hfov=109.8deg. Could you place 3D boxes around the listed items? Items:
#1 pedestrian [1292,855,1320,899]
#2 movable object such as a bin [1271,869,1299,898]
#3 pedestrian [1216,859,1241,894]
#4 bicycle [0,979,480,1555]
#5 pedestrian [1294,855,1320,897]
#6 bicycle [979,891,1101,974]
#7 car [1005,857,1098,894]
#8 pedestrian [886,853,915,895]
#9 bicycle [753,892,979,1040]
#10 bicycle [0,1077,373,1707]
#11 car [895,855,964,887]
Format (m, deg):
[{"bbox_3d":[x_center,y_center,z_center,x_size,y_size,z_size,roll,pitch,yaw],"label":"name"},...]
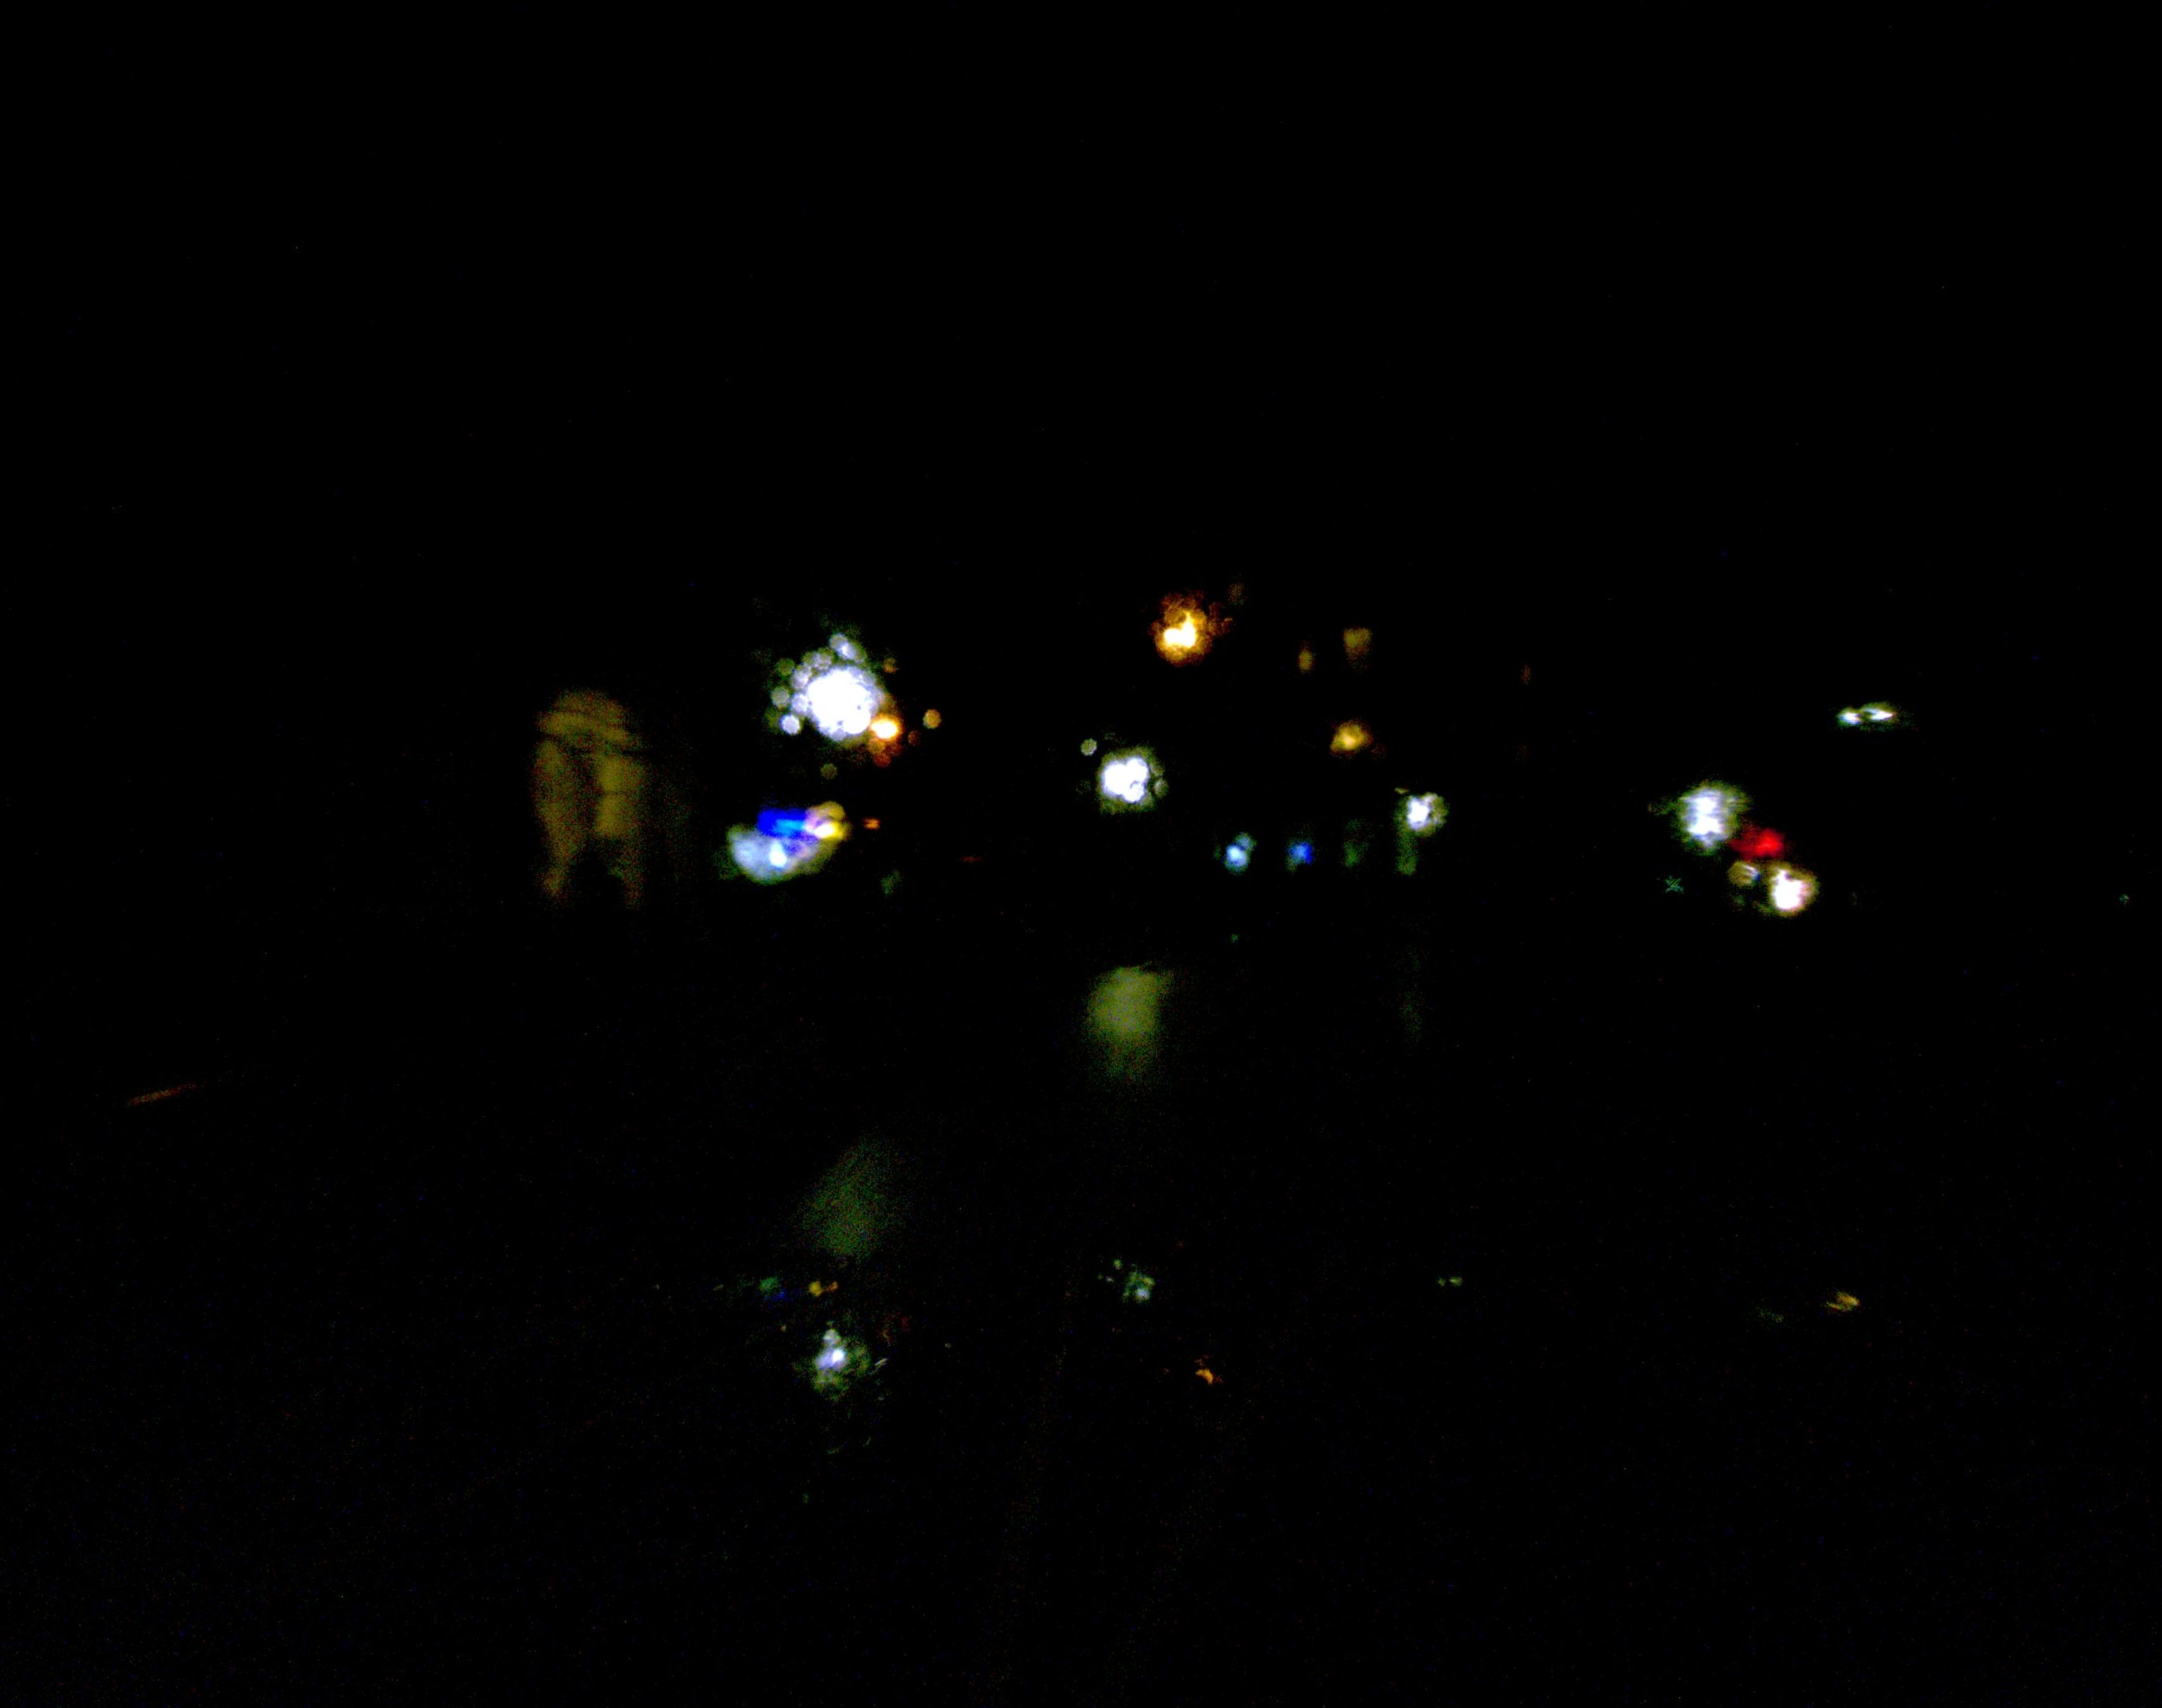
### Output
[{"bbox_3d":[8.691,0.879,29.340,0.872,1.628,0.635,-2,0,25],"label":"pedestrian"},{"bbox_3d":[8.151,1.161,30.360,0.921,1.109,0.635,-2,0,25],"label":"movable object such as a bin"},{"bbox_3d":[6.393,0.968,32.979,0.635,1.484,0.766,-3,0,-43],"label":"pedestrian"},{"bbox_3d":[-2.922,1.006,2.187,1.930,1.108,0.731,1,1,8],"label":"bicycle"},{"bbox_3d":[8.938,0.872,29.985,0.841,1.628,0.635,-2,0,25],"label":"pedestrian"},{"bbox_3d":[-0.555,1.075,10.635,1.623,1.076,0.565,0,3,7],"label":"bicycle"},{"bbox_3d":[-1.466,0.978,36.360,4.483,1.584,1.893,0,1,45],"label":"car"},{"bbox_3d":[-7.686,0.866,32.408,0.688,1.752,1.045,-2,-1,22],"label":"pedestrian"},{"bbox_3d":[-1.959,0.989,7.042,1.872,1.210,0.731,1,1,8],"label":"bicycle"},{"bbox_3d":[-2.737,1.080,1.624,1.930,0.982,0.731,1,1,8],"label":"bicycle"},{"bbox_3d":[-8.841,0.943,44.063,1.885,1.694,4.274,-2,1,-43],"label":"car"}]
